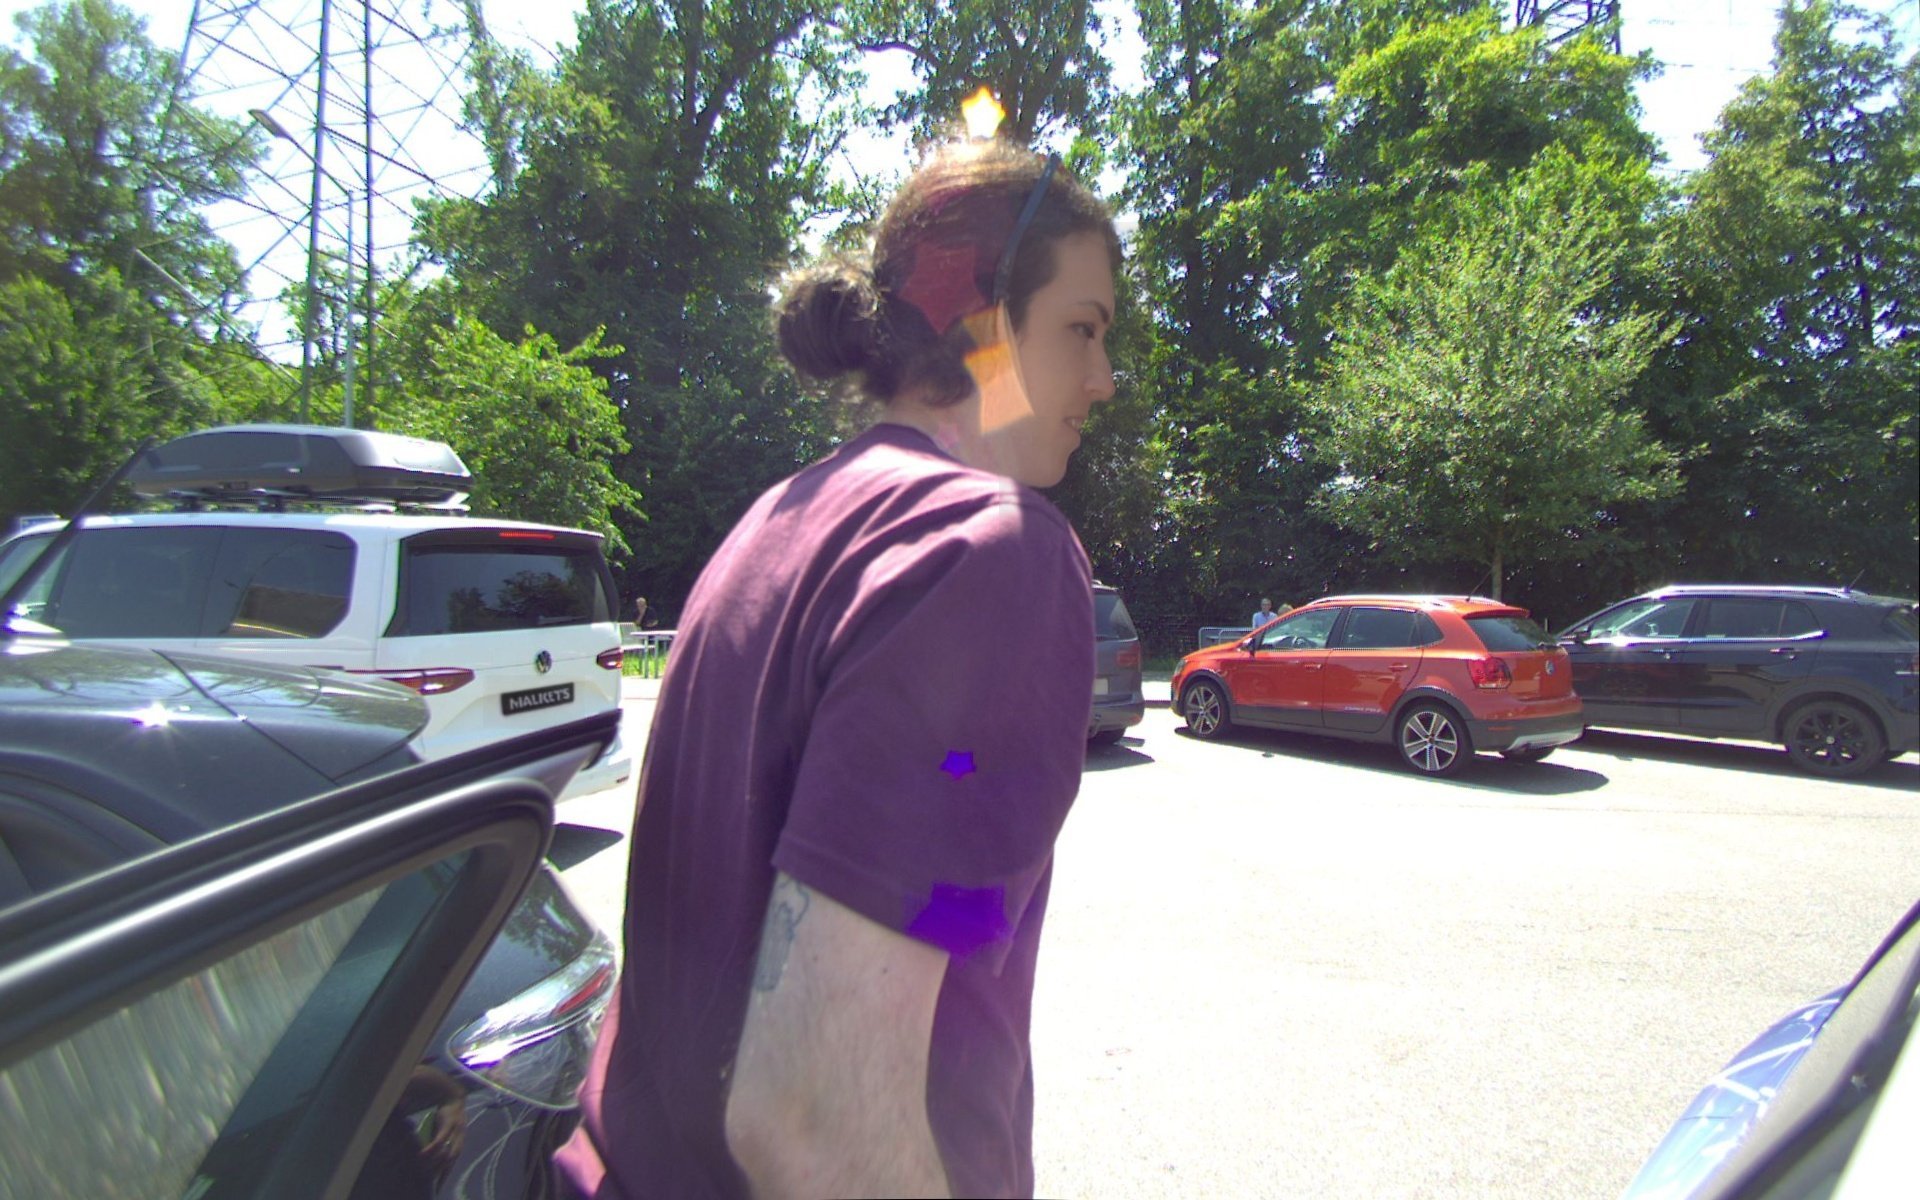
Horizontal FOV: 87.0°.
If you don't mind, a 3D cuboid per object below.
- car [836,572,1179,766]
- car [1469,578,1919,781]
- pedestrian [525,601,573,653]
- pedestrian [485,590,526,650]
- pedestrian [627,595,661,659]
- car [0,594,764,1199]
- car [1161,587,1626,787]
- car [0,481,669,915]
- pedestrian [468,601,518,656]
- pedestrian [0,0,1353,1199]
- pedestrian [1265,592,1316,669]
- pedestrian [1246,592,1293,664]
[{"bbox_3d":[0.268,0.539,10.521,1.713,1.601,3.996,0,1,-29],"label":"car"},{"bbox_3d":[7.195,0.593,9.711,1.690,1.593,3.787,0,1,-39],"label":"car"},{"bbox_3d":[-9.586,0.619,23.629,0.873,1.192,0.668,0,0,-41],"label":"pedestrian"},{"bbox_3d":[-11.010,0.470,24.531,0.664,1.422,0.643,0,0,32],"label":"pedestrian"},{"bbox_3d":[-6.636,0.561,21.274,0.655,1.311,0.786,0,0,-16],"label":"pedestrian"},{"bbox_3d":[-2.188,0.728,0.603,1.737,1.501,3.757,0,-1,44],"label":"car"},{"bbox_3d":[3.868,0.629,9.652,1.687,1.484,3.793,0,1,-32],"label":"car"},{"bbox_3d":[-4.244,0.402,6.132,4.503,1.936,1.901,1,1,18],"label":"car"},{"bbox_3d":[-10.502,0.631,22.774,0.873,1.192,0.668,0,0,-41],"label":"pedestrian"},{"bbox_3d":[-0.237,0.547,0.731,0.874,1.865,0.621,0,0,-38],"label":"pedestrian"},{"bbox_3d":[5.795,0.517,17.752,0.657,1.311,0.783,0,0,3],"label":"pedestrian"},{"bbox_3d":[5.801,0.508,18.983,0.657,1.311,0.783,0,0,3],"label":"pedestrian"}]
